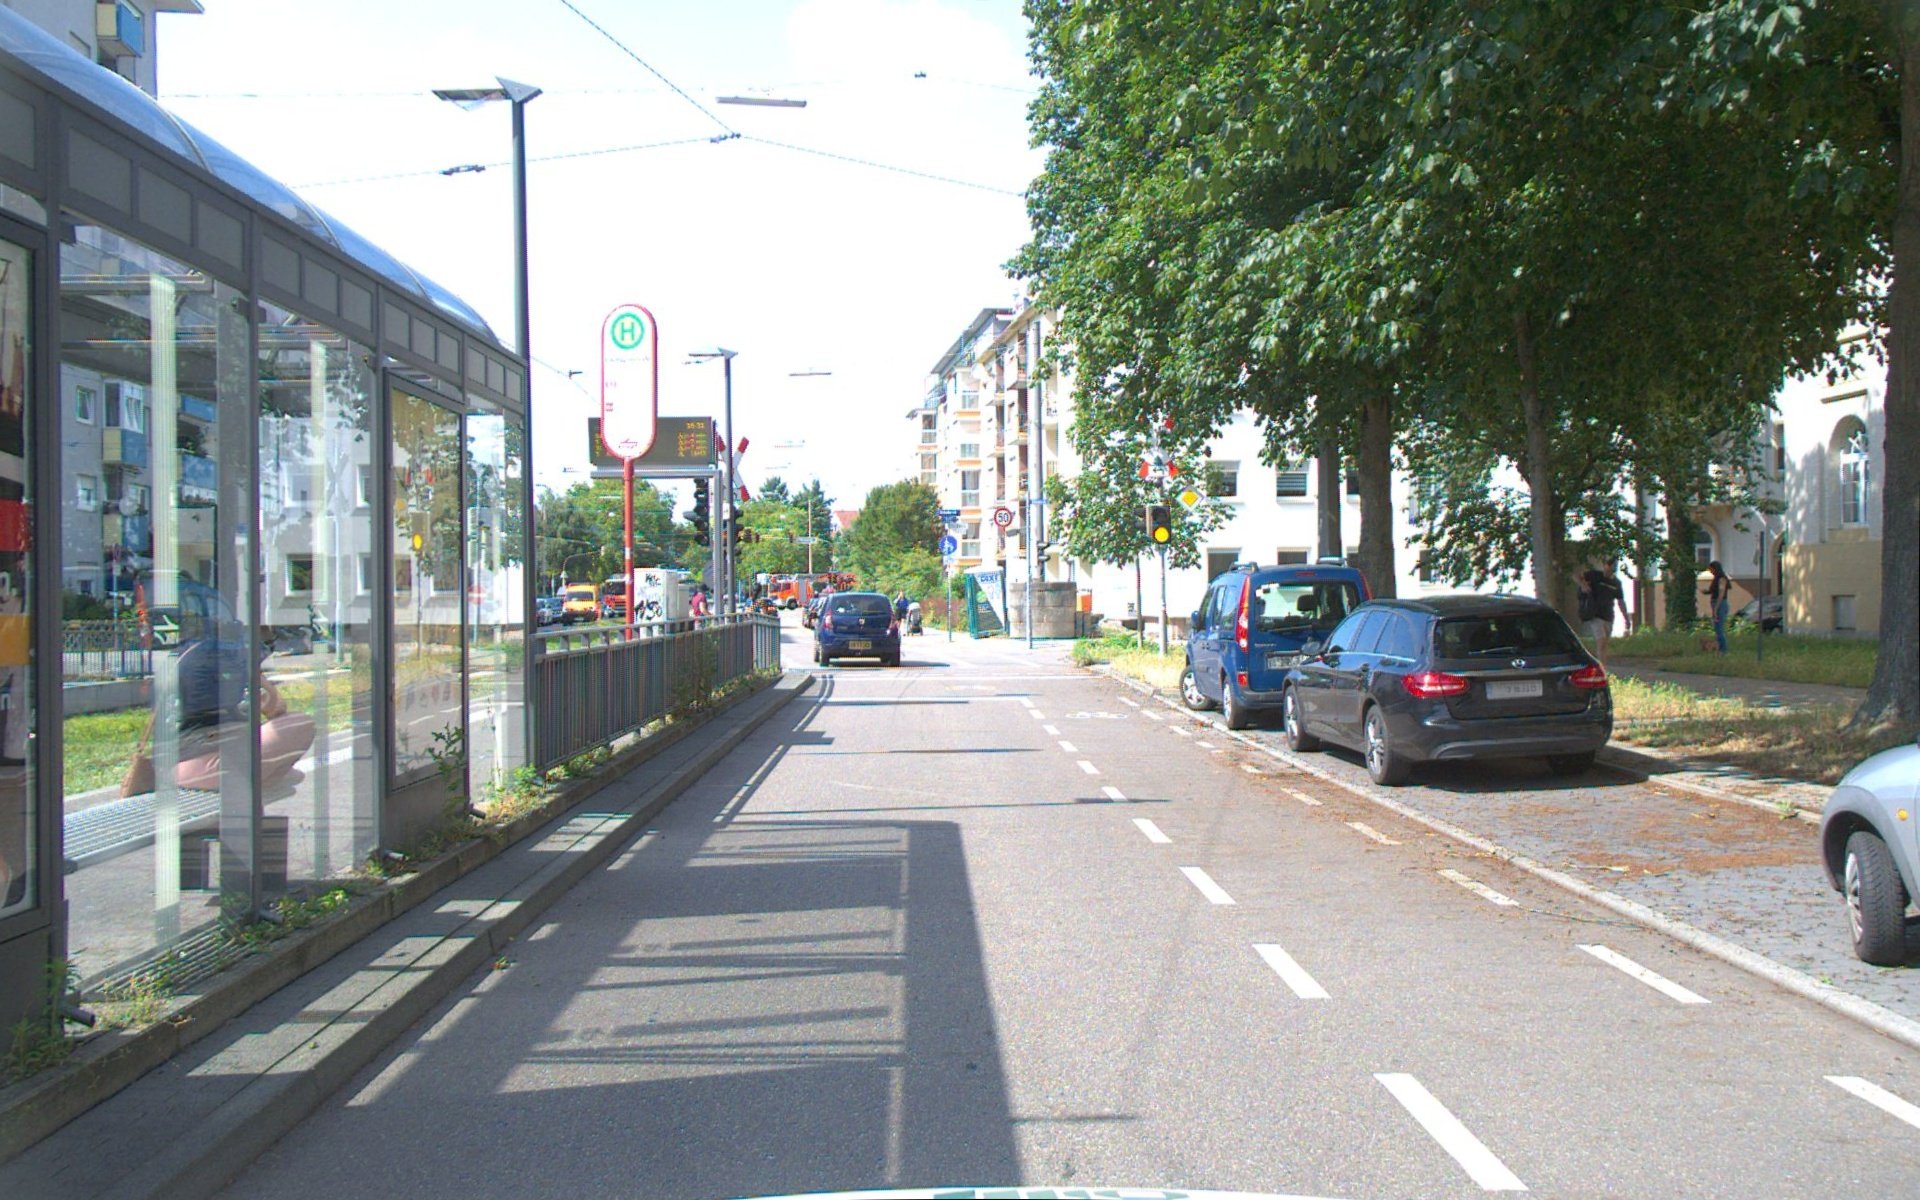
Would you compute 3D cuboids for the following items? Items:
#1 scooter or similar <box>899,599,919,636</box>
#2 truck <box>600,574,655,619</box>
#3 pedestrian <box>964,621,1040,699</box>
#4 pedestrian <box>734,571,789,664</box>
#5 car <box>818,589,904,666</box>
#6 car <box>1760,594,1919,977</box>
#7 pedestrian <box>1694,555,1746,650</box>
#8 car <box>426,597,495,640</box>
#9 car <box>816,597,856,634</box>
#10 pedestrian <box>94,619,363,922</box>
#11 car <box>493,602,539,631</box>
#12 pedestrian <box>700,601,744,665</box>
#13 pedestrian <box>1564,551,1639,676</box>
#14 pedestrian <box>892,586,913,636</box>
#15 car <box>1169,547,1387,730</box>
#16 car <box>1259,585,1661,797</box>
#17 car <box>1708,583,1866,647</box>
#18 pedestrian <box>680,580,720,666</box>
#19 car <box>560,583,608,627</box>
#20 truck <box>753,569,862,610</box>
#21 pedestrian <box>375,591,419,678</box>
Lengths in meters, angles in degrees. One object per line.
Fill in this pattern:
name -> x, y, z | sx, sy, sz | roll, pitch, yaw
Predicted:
scooter or similar -> -1.891, 0.633, 61.577 | 0.649, 1.326, 0.868 | -4, 1, -4
truck -> -25.311, -0.237, 126.389 | 2.543, 3.241, 8.381 | -1, 0, -1
pedestrian -> 1.145, 1.648, 46.886 | 1.953, 2.049, 3.999 | 1, 0, -1
pedestrian -> -3.725, 0.324, 30.957 | 0.833, 1.697, 0.793 | -1, -1, -22
car -> -2.139, 0.566, 35.319 | 1.709, 1.533, 3.996 | 1, 0, -4
car -> 4.509, 0.703, 5.792 | 1.558, 1.470, 3.597 | -2, 0, -1
pedestrian -> 13.118, 0.047, 28.557 | 0.619, 1.624, 0.539 | -1, -1, -5
car -> -20.780, 0.759, 68.902 | 1.955, 1.674, 3.995 | 1, 0, -6
car -> -5.246, 0.638, 69.767 | 1.591, 1.491, 3.506 | 1, 0, -6
pedestrian -> -2.893, 0.633, 6.564 | 0.649, 1.091, 0.722 | 0, 1, 32
car -> -22.729, 0.838, 84.772 | 1.735, 1.467, 3.993 | 1, 0, -7
pedestrian -> -4.566, 0.632, 31.668 | 0.628, 1.201, 0.793 | -1, -1, -24
pedestrian -> 9.087, 0.179, 23.456 | 0.729, 1.726, 0.767 | -1, 0, -1
pedestrian -> -2.179, 0.408, 62.457 | 0.687, 1.820, 1.030 | -3, 0, -2
car -> 3.735, 0.389, 20.129 | 1.785, 1.929, 4.183 | -2, 1, 0
car -> 4.183, 0.658, 14.786 | 1.879, 1.467, 4.794 | -3, 1, -3
car -> 20.476, 0.347, 41.133 | 1.705, 1.485, 3.996 | -1, 0, -5
pedestrian -> -5.114, 0.451, 32.566 | 0.692, 1.677, 0.636 | 1, -1, -5
car -> -20.723, 0.242, 91.249 | 1.955, 2.315, 4.828 | 1, 0, -6
truck -> -14.053, -0.968, 153.219 | 10.044, 3.531, 2.644 | 1, -1, -34
pedestrian -> -11.118, 0.682, 32.678 | 0.647, 1.693, 0.632 | -1, 0, -3
